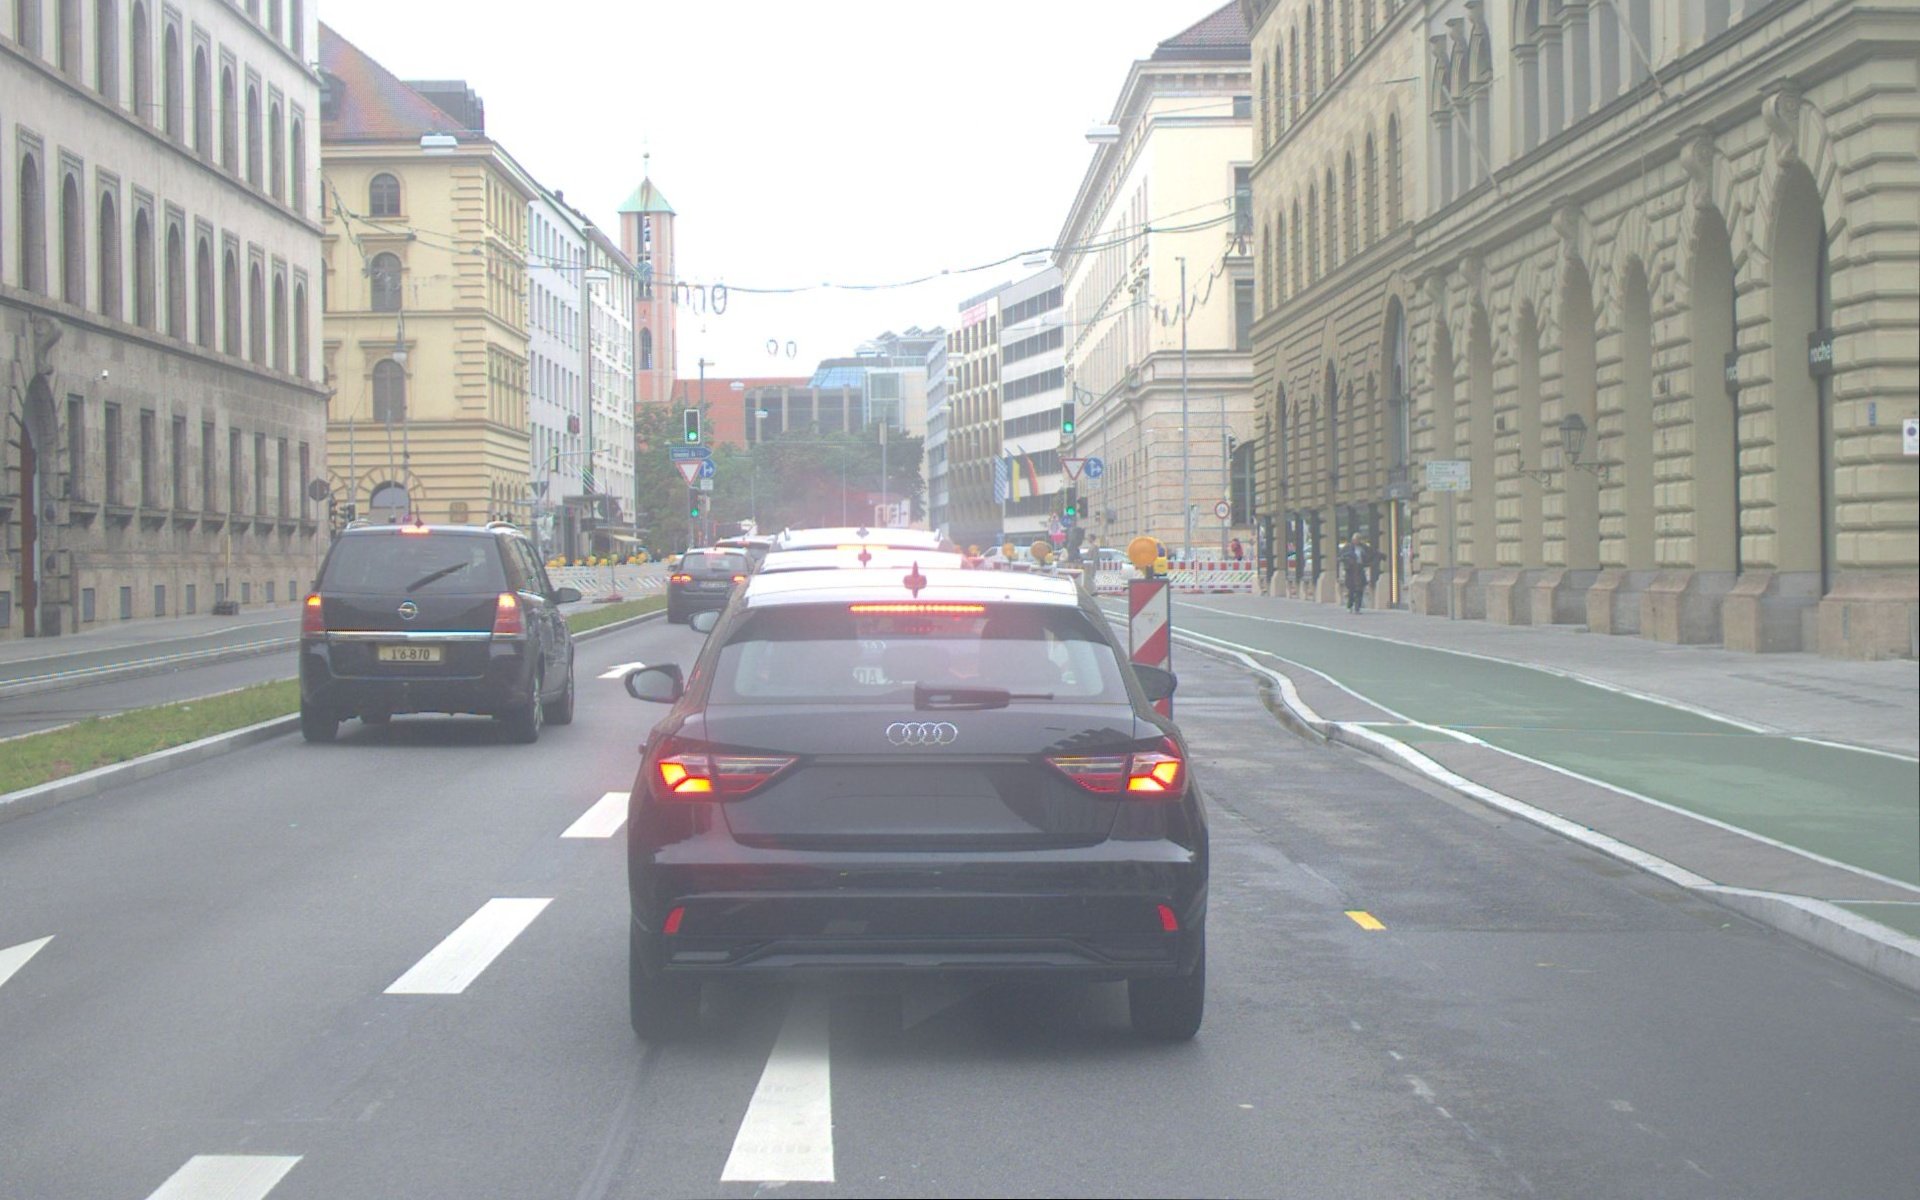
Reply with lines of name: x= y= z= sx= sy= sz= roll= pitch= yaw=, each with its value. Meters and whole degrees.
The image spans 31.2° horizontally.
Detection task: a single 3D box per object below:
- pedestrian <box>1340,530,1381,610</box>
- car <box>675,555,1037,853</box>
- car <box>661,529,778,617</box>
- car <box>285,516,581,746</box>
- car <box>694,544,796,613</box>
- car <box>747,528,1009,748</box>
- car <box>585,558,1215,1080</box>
pedestrian: x=8.192 y=-0.613 z=70.348 sx=0.710 sy=1.612 sz=0.754 roll=-1 pitch=1 yaw=-1
car: x=-0.541 y=0.478 z=18.646 sx=1.730 sy=1.398 sz=4.000 roll=1 pitch=1 yaw=-1
car: x=-4.557 y=-0.532 z=65.701 sx=1.993 sy=1.622 sz=4.000 roll=0 pitch=1 yaw=-1
car: x=-3.954 y=0.184 z=26.376 sx=1.764 sy=1.610 sz=4.030 roll=1 pitch=1 yaw=-2
car: x=-4.639 y=-0.483 z=74.718 sx=1.993 sy=1.439 sz=4.000 roll=0 pitch=1 yaw=-1
car: x=-0.587 y=0.215 z=25.047 sx=1.730 sy=1.456 sz=4.000 roll=1 pitch=1 yaw=-1
car: x=-0.203 y=0.585 z=11.536 sx=1.730 sy=1.398 sz=4.000 roll=1 pitch=1 yaw=-1
